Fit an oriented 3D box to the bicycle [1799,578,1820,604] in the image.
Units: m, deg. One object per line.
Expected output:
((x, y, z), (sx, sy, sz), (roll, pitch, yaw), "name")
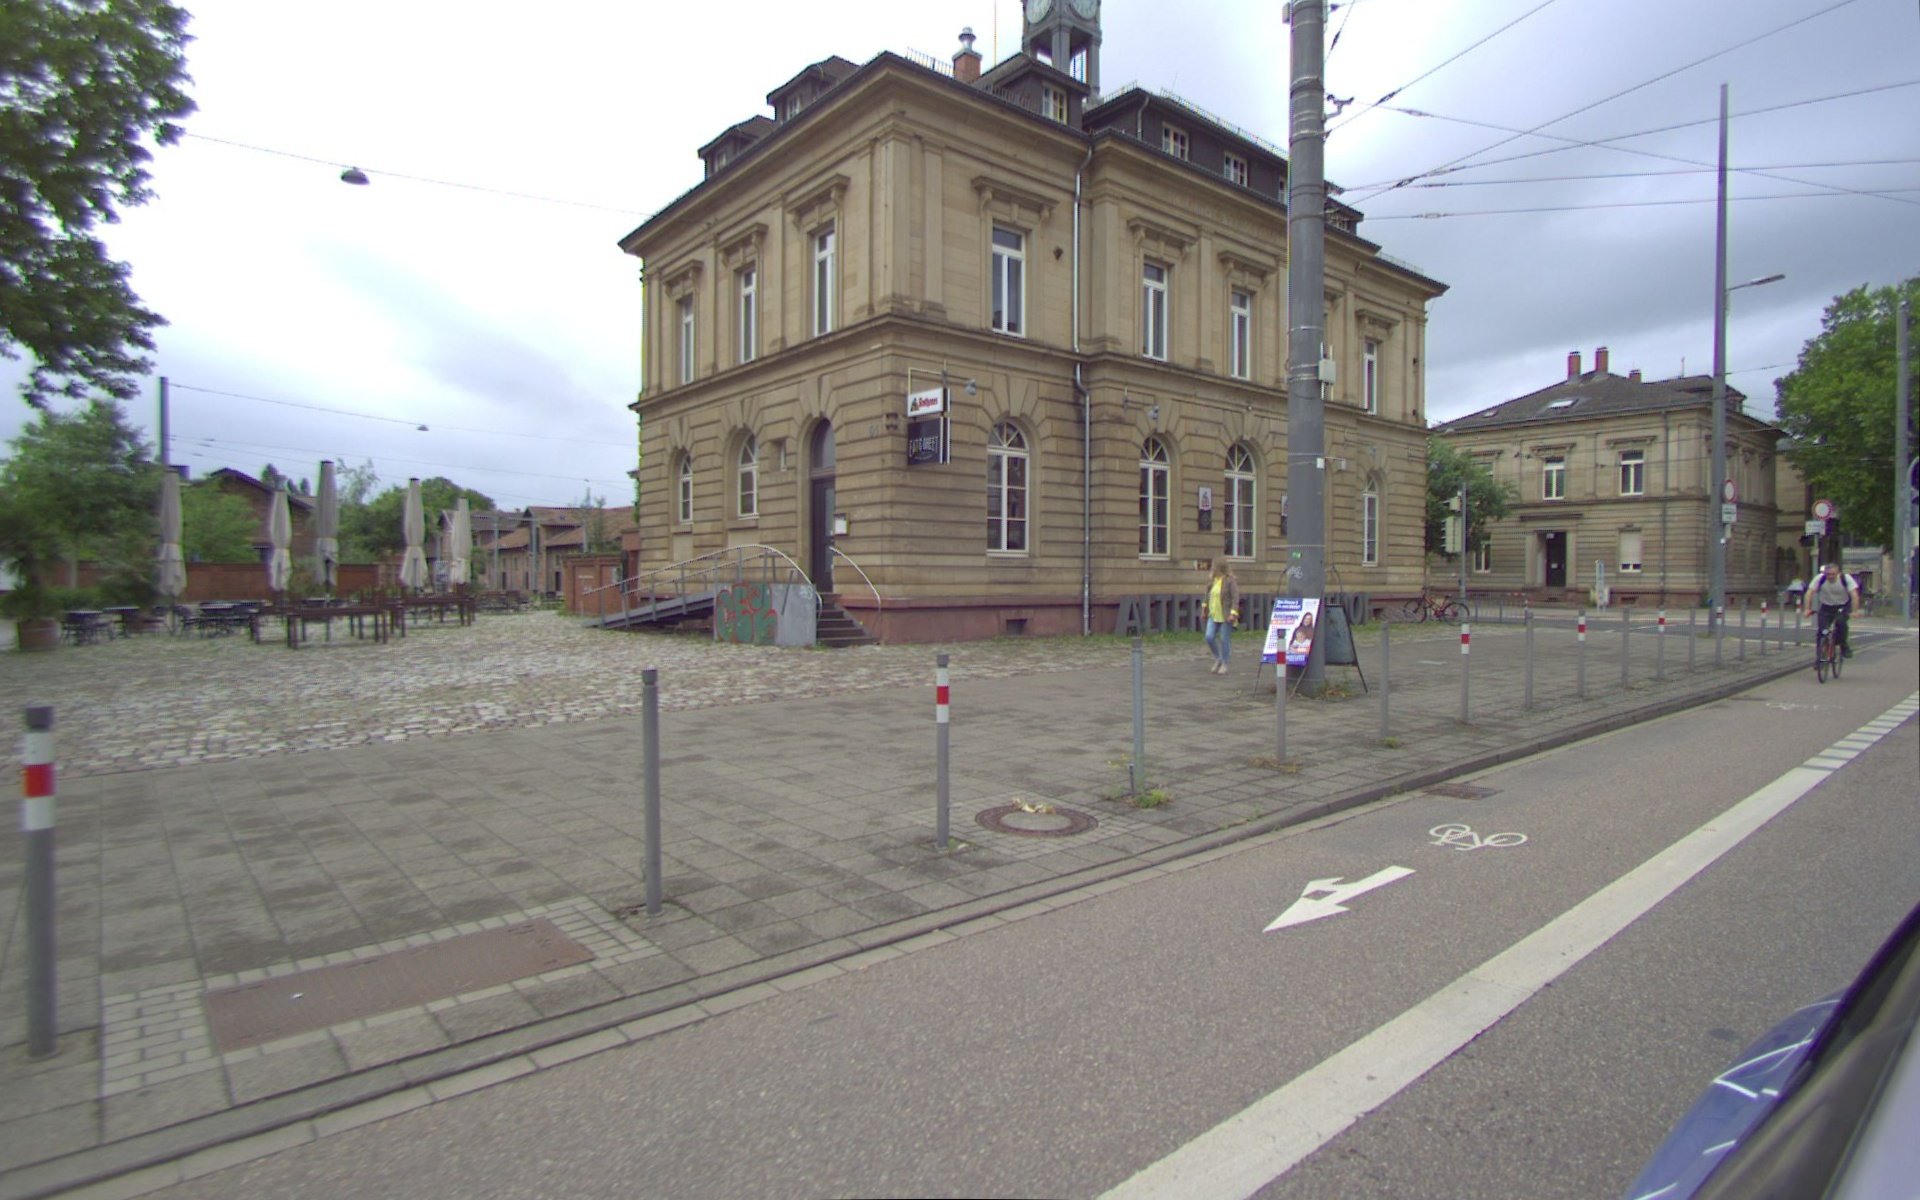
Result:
((39.614, -0.433, 47.194), (0.674, 1.179, 2.083), (1, 2, 41), "bicycle")

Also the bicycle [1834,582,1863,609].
((37.669, -0.196, 42.885), (1.670, 1.081, 0.718), (-2, 2, -41), "bicycle")

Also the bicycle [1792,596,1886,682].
((13.807, 0.572, 15.872), (2.238, 1.184, 0.814), (-2, 2, -41), "bicycle")

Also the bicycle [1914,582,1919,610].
((39.209, -0.172, 40.973), (1.670, 1.081, 0.718), (-2, 2, -41), "bicycle")

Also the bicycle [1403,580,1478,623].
((13.846, 0.023, 29.181), (1.844, 1.091, 0.541), (4, 4, 33), "bicycle")

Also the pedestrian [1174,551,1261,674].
((3.699, 0.148, 14.546), (0.979, 1.699, 0.722), (-1, 2, -30), "pedestrian")

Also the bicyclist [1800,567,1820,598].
((39.717, -0.810, 47.296), (0.691, 1.417, 0.805), (1, 2, 38), "bicyclist")

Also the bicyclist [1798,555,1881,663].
((13.705, 0.109, 15.768), (1.169, 1.620, 0.811), (-2, 2, -41), "bicyclist")

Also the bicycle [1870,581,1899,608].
((38.319, -0.245, 41.945), (1.670, 1.081, 0.718), (-2, 2, -41), "bicycle")
